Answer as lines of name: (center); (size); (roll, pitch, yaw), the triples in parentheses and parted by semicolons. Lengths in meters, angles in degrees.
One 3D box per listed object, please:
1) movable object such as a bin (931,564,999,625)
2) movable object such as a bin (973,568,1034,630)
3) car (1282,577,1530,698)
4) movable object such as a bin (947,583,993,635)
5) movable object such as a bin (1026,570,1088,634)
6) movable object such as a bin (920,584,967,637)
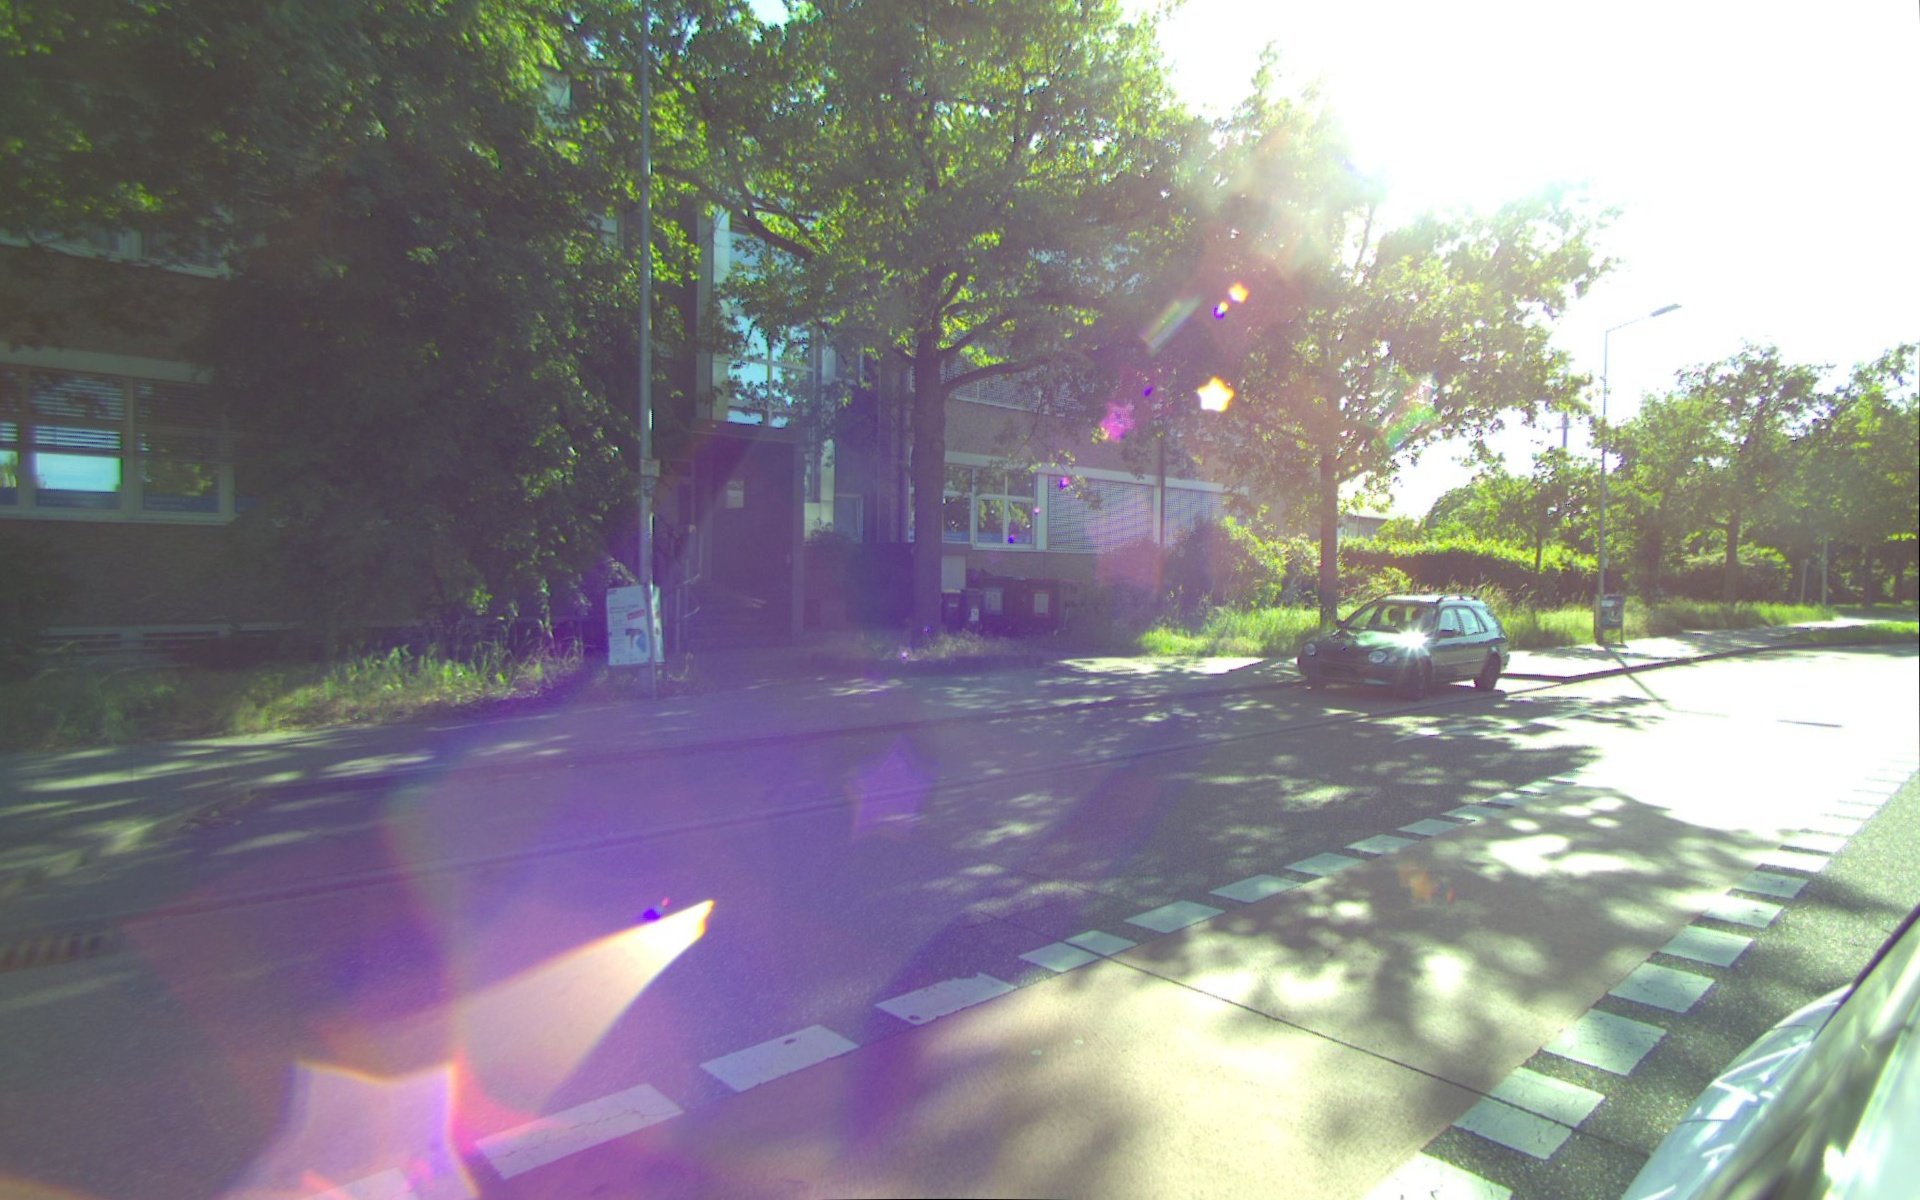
movable object such as a bin: (0.105, -0.144, 23.976); (0.864, 1.396, 1.469); (0, 2, -40)
movable object such as a bin: (0.975, -0.035, 22.847); (0.782, 1.357, 1.207); (0, 1, -40)
car: (6.806, 0.453, 15.251); (4.141, 1.504, 1.776); (-1, 3, -41)
movable object such as a bin: (0.209, 0.177, 21.041); (0.683, 1.055, 0.687); (0, 1, -41)
movable object such as a bin: (2.079, 0.022, 21.780); (0.782, 1.338, 1.089); (0, 1, -41)
movable object such as a bin: (-0.342, 0.197, 20.572); (0.683, 1.055, 0.687); (0, 0, -41)
